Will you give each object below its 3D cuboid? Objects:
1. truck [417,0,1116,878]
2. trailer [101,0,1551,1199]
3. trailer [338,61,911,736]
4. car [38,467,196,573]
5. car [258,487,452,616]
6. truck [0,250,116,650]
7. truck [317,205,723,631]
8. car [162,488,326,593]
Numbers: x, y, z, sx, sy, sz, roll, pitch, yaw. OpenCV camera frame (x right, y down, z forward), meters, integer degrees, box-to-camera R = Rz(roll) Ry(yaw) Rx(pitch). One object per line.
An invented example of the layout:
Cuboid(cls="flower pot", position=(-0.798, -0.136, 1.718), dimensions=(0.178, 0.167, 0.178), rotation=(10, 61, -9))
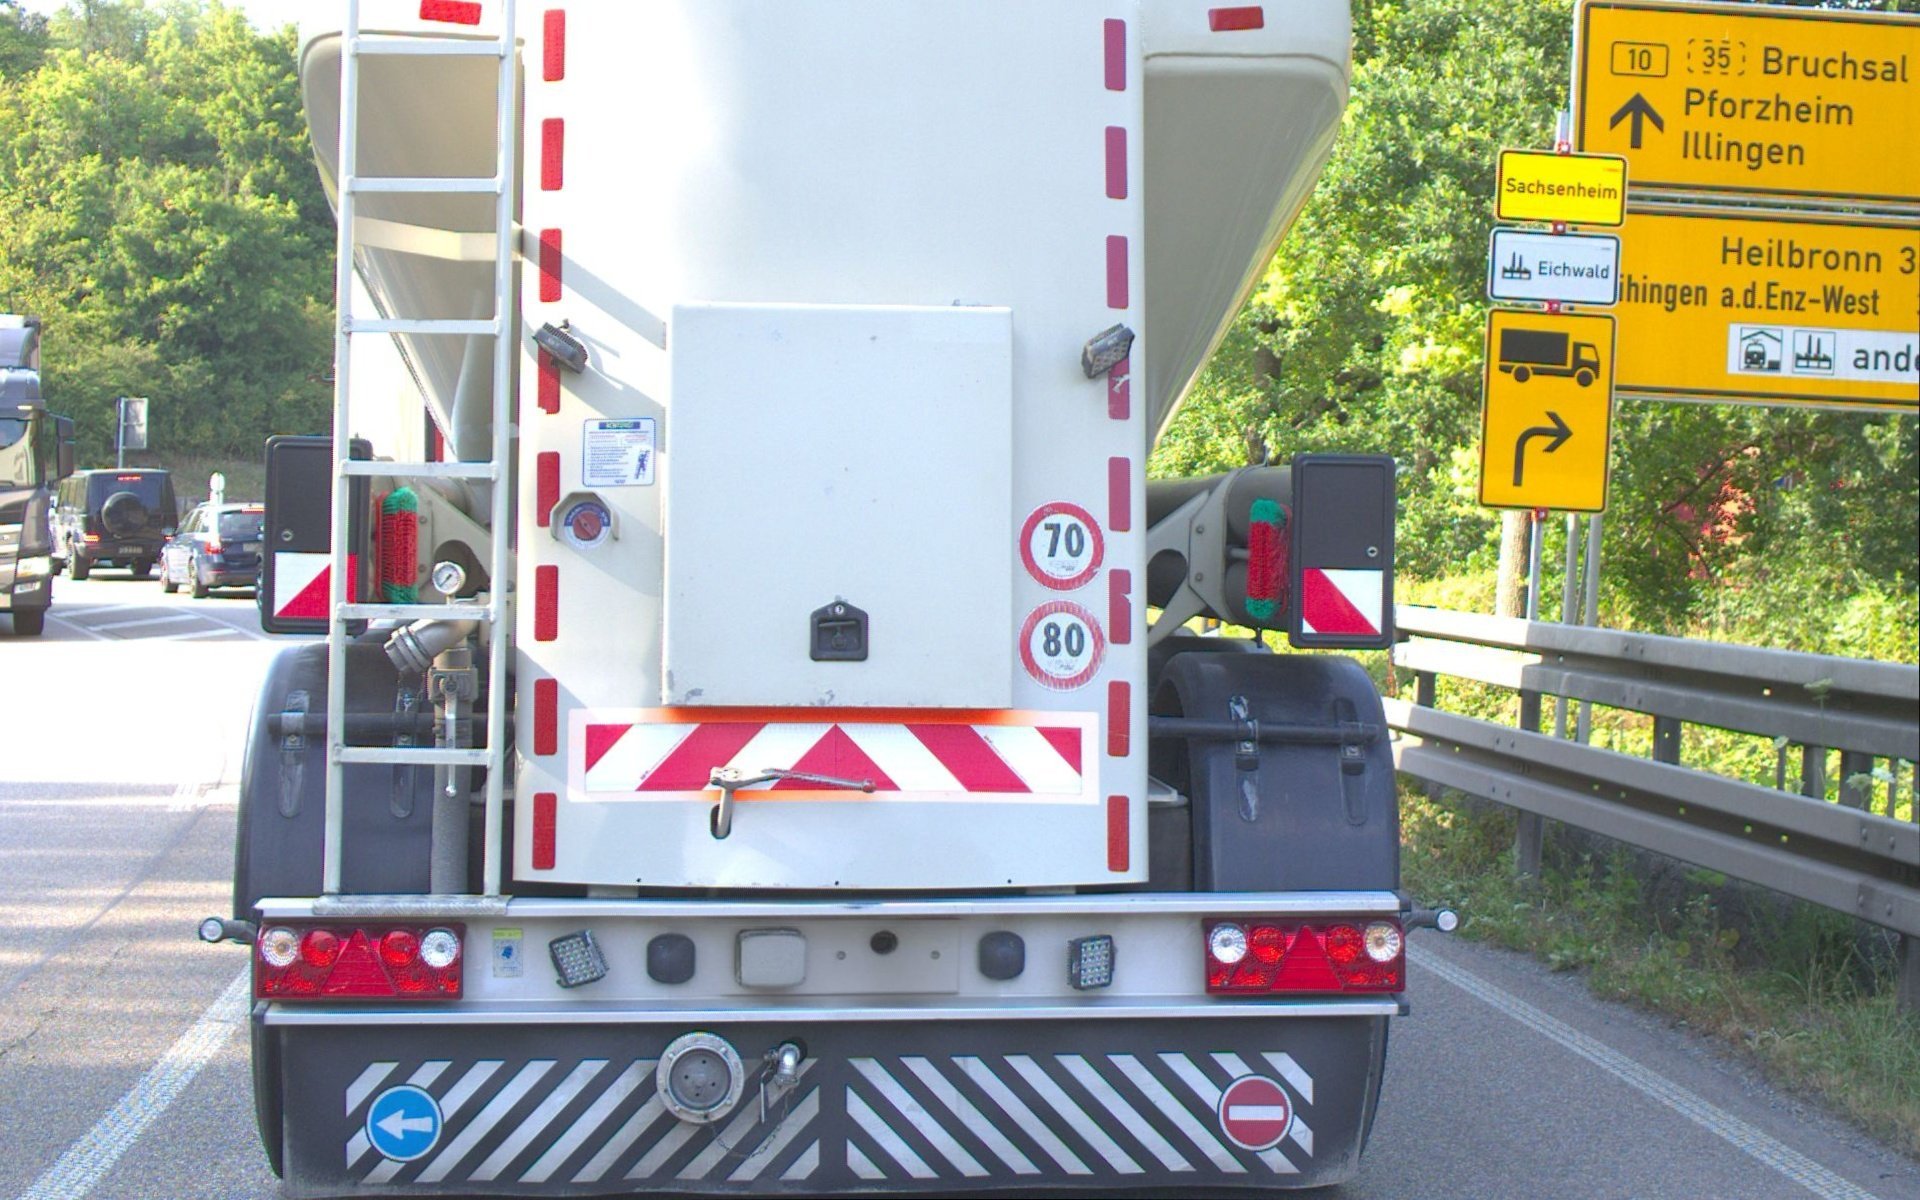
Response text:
Cuboid(cls="truck", position=(-1.144, -0.930, 17.048), dimensions=(2.823, 4.021, 5.896), rotation=(1, 1, -7))
Cuboid(cls="trailer", position=(-0.626, -1.007, 11.706), dimensions=(2.886, 4.439, 9.607), rotation=(1, 1, -5))
Cuboid(cls="trailer", position=(-3.426, -1.477, 29.973), dimensions=(3.544, 4.497, 12.988), rotation=(2, 1, -11))
Cuboid(cls="car", position=(-15.355, -1.490, 62.491), dimensions=(1.956, 1.845, 4.001), rotation=(-1, 2, -26))
Cuboid(cls="car", position=(-8.128, -0.692, 45.950), dimensions=(1.867, 1.622, 4.001), rotation=(-1, 2, -20))
Cuboid(cls="truck", position=(-13.110, -1.836, 44.040), dimensions=(3.011, 4.569, 10.244), rotation=(1, 1, -22))
Cuboid(cls="truck", position=(-4.894, -1.882, 36.938), dimensions=(3.449, 4.072, 6.493), rotation=(1, 2, -14))
Cuboid(cls="car", position=(-11.234, -0.955, 53.782), dimensions=(1.867, 1.559, 4.001), rotation=(-1, 2, -21))
